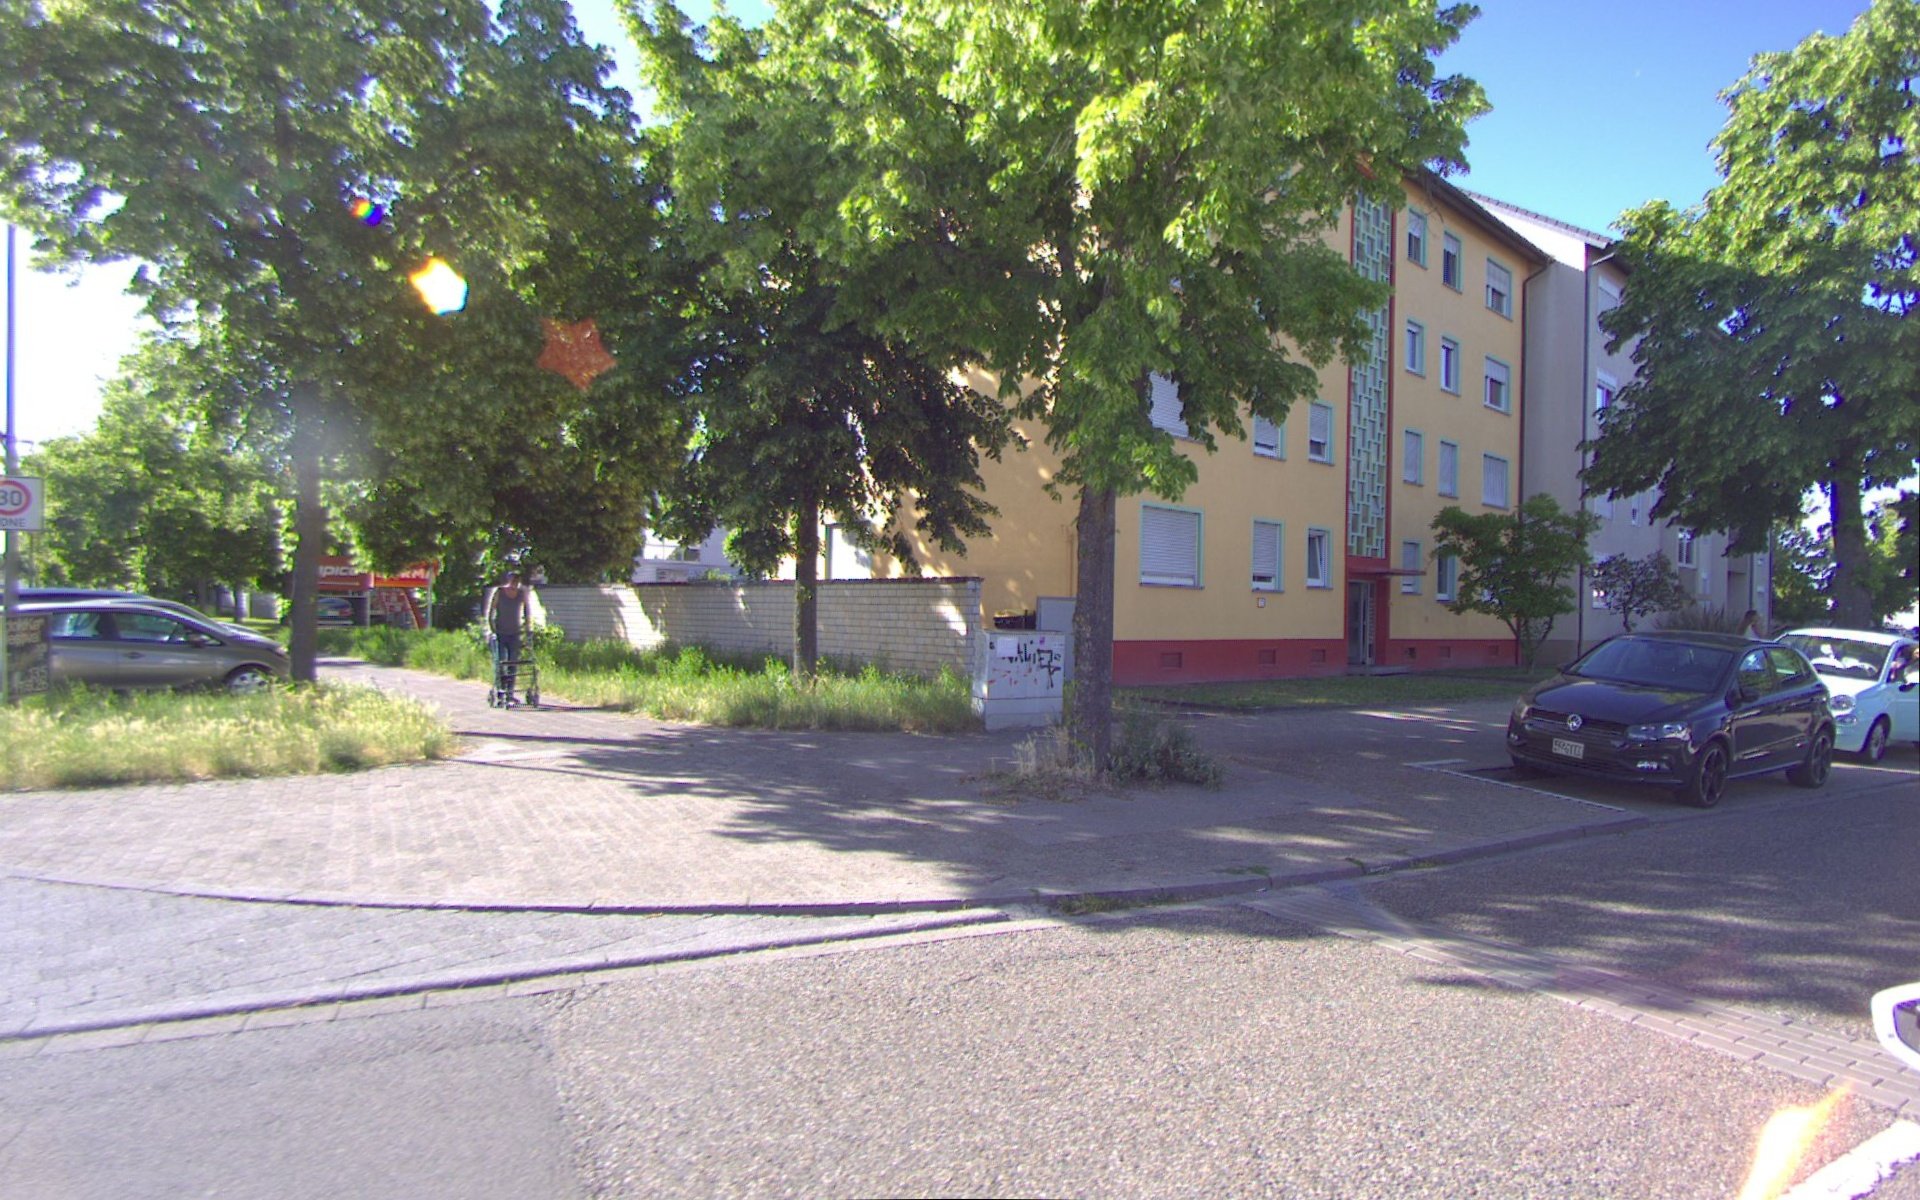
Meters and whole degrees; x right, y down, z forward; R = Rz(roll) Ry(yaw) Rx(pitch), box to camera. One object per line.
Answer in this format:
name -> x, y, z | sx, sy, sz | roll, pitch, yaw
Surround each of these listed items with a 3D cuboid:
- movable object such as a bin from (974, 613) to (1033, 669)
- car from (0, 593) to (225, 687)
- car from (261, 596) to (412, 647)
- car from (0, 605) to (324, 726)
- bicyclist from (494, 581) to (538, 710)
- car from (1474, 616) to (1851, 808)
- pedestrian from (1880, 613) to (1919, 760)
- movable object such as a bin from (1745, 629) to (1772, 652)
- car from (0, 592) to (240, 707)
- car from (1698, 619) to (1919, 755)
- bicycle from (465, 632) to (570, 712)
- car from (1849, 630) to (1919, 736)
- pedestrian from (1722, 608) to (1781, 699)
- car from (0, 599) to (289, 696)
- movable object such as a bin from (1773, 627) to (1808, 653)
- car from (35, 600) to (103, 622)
movable object such as a bin -> 0.739, 0.696, 17.050 | 0.739, 0.923, 0.691 | 0, -2, -38
car -> -16.932, 0.764, 19.775 | 3.852, 1.702, 1.682 | 0, -2, -42
car -> -19.569, 0.671, 31.609 | 3.852, 1.525, 1.488 | 1, -2, -42
car -> -11.267, 0.834, 13.985 | 3.854, 1.483, 1.712 | 1, -2, -44
bicyclist -> -6.006, 0.603, 13.596 | 0.382, 1.708, 0.381 | 0, -1, 28
car -> 6.976, 0.992, 9.859 | 4.010, 1.499, 1.690 | 3, -1, -34
pedestrian -> 11.871, 1.072, 12.458 | 0.688, 1.784, 0.501 | 3, -3, -34
movable object such as a bin -> 47.338, 2.401, 59.558 | 1.160, 1.338, 1.082 | -2, -4, 44
car -> -13.758, 0.728, 15.673 | 1.680, 1.643, 3.857 | -2, -1, 44
car -> 11.620, 1.121, 13.256 | 4.009, 1.542, 1.691 | 3, -4, -33
bicycle -> -5.987, 0.950, 13.577 | 1.593, 1.024, 0.406 | -1, -1, 29
car -> 15.716, 1.258, 15.602 | 3.951, 1.530, 1.650 | 1, -1, -29
pedestrian -> 15.468, 1.051, 19.628 | 0.712, 1.740, 0.682 | 3, -3, -31
car -> -14.590, 0.780, 18.116 | 1.680, 1.483, 3.857 | -2, 0, 44
movable object such as a bin -> 48.366, 2.329, 58.515 | 1.501, 1.446, 1.082 | -2, -4, 44
car -> -70.215, 0.898, 79.214 | 3.972, 1.641, 1.634 | 1, -4, -44
